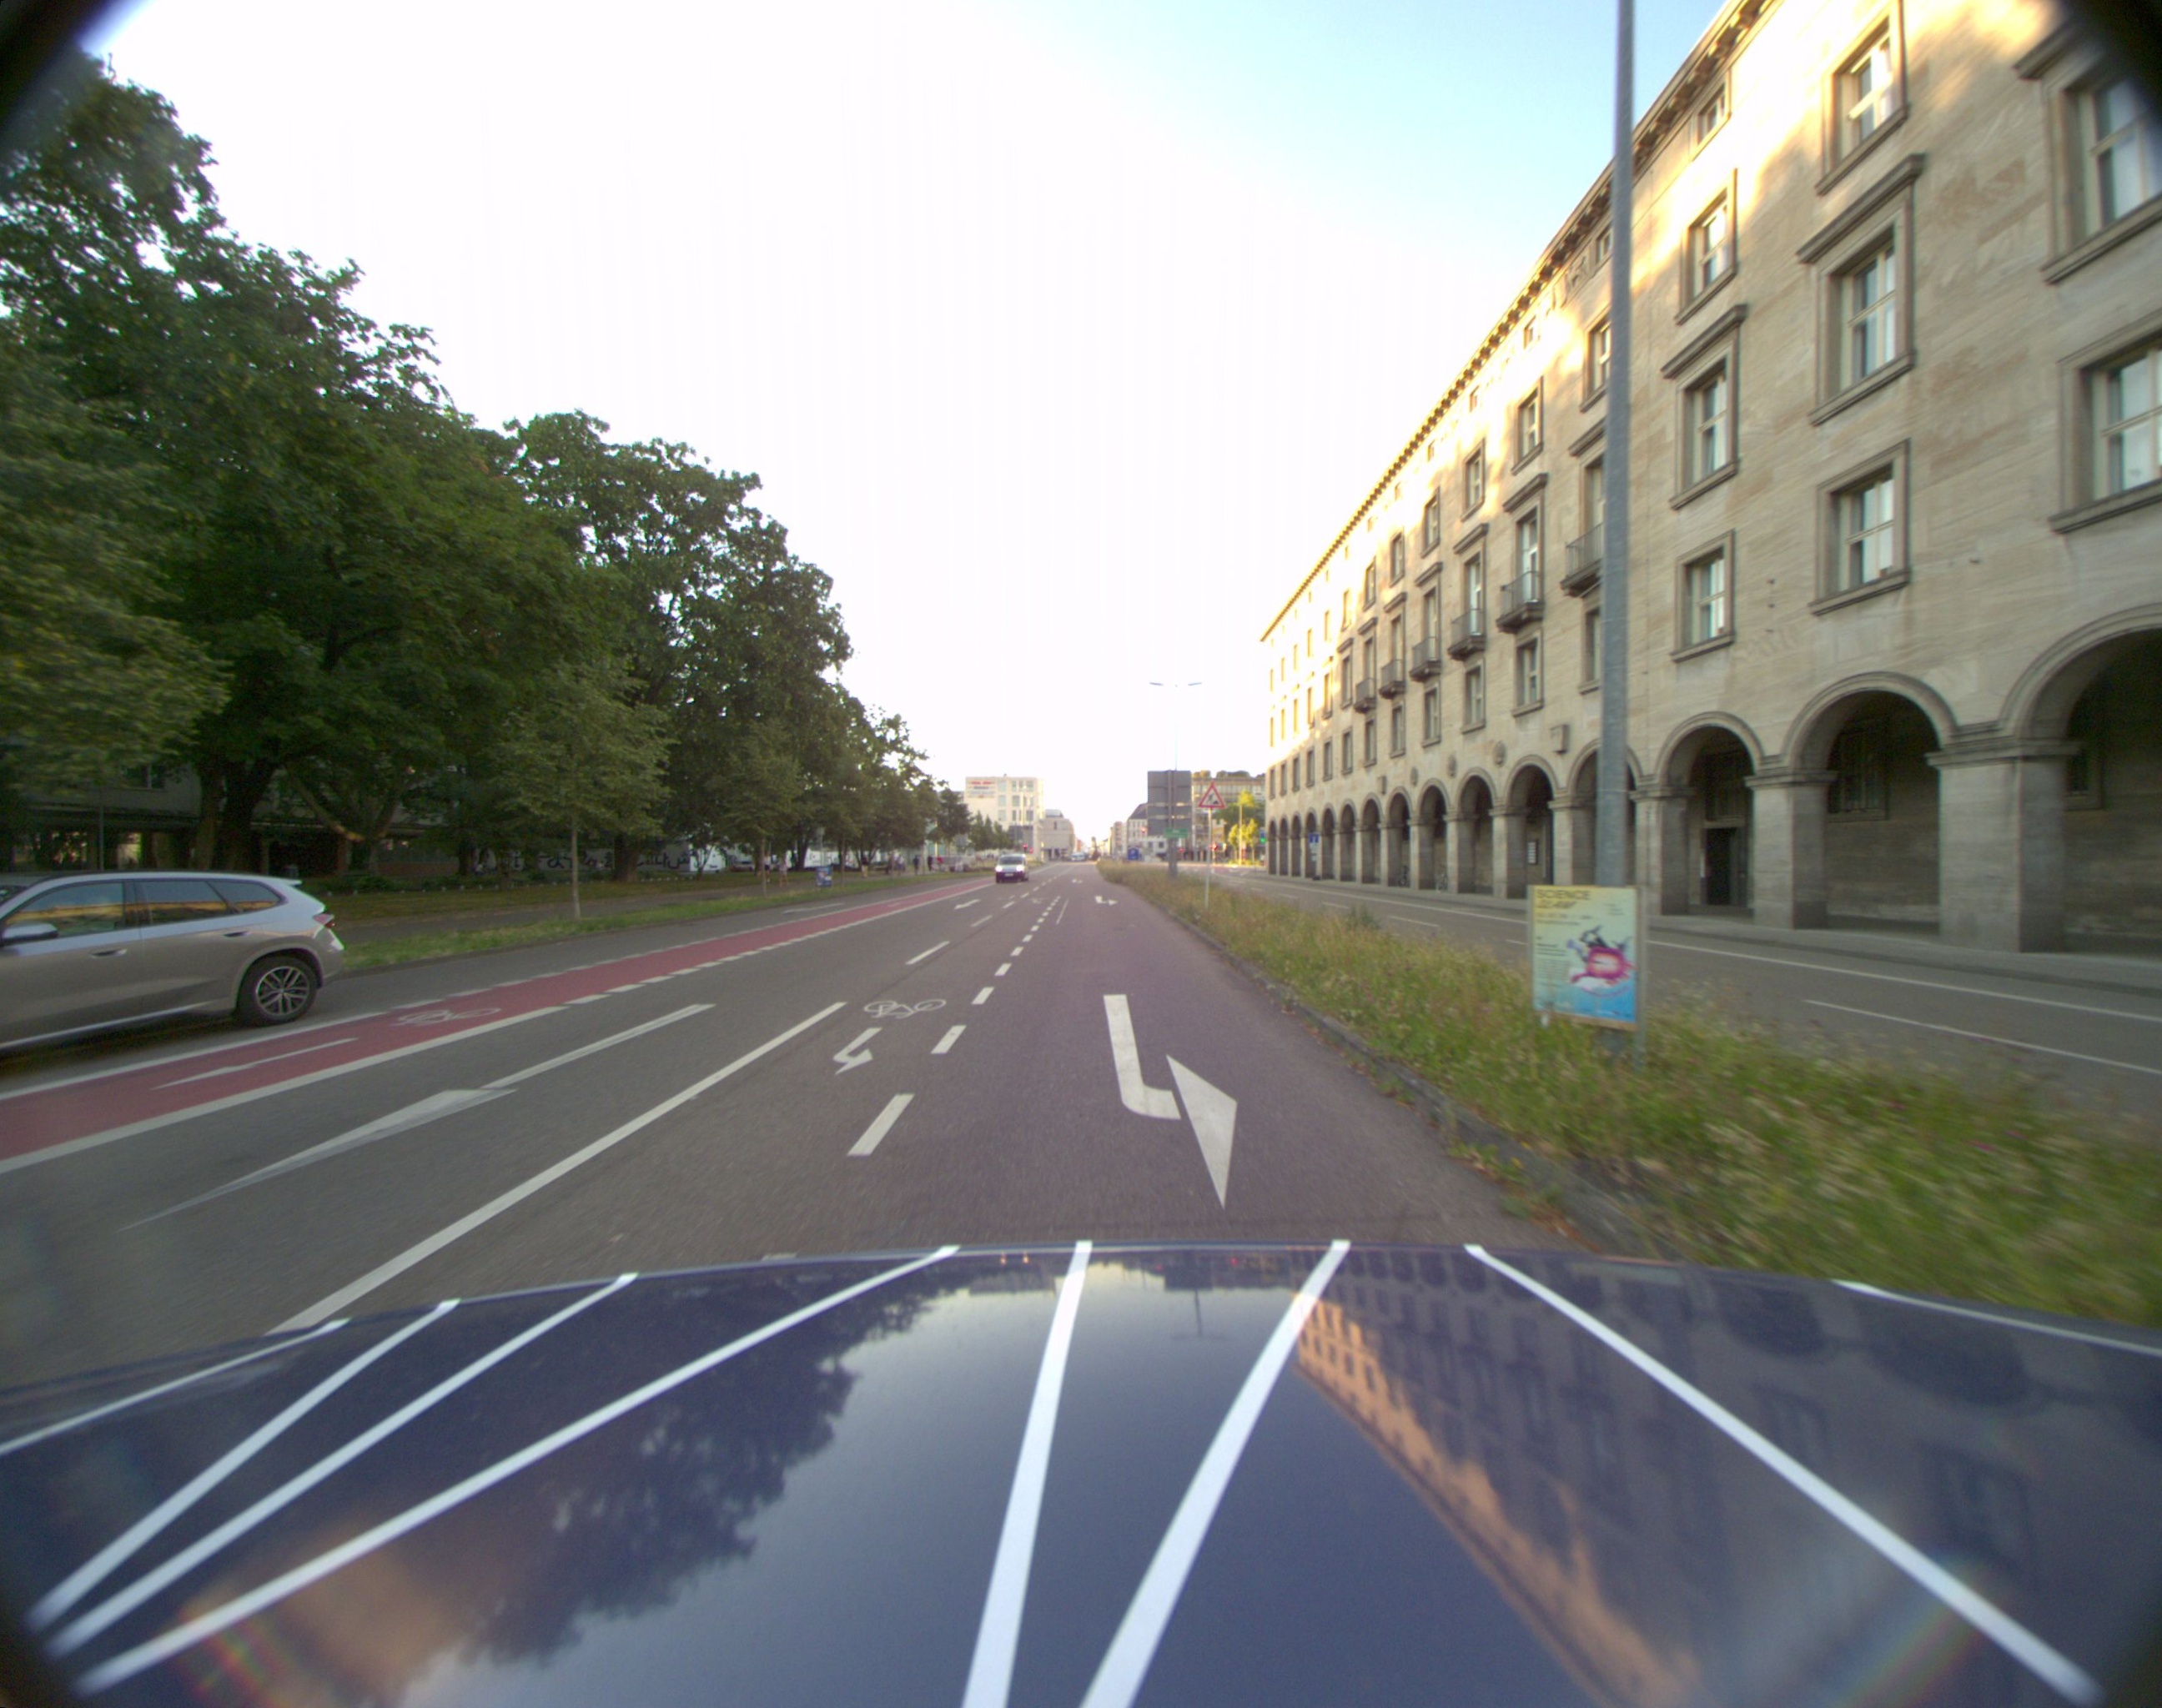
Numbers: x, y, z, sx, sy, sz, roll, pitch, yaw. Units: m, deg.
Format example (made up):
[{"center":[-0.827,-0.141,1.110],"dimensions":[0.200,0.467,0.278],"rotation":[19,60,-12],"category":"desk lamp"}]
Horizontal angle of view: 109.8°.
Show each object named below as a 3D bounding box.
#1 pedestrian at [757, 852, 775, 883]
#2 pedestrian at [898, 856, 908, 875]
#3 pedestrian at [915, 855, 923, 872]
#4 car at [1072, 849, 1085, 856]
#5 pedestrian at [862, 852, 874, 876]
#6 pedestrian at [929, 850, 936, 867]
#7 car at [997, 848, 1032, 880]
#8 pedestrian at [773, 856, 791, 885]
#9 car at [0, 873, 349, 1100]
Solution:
[{"center":[-16.531,0.696,39.916],"dimensions":[0.645,1.585,0.677],"rotation":[0,1,4],"category":"pedestrian"},{"center":[-14.412,0.931,61.614],"dimensions":[0.631,1.455,0.646],"rotation":[0,1,3],"category":"pedestrian"},{"center":[-13.475,0.769,63.065],"dimensions":[0.632,1.387,0.645],"rotation":[0,1,-12],"category":"pedestrian"},{"center":[-0.625,-0.443,219.377],"dimensions":[1.995,2.001,4.007],"rotation":[-5,-2,27],"category":"car"},{"center":[-14.995,0.720,53.468],"dimensions":[0.631,1.653,0.646],"rotation":[0,1,5],"category":"pedestrian"},{"center":[-14.657,0.437,75.087],"dimensions":[0.632,1.656,0.645],"rotation":[0,1,-12],"category":"pedestrian"},{"center":[-4.113,0.579,47.663],"dimensions":[1.804,1.900,4.464],"rotation":[0,0,0],"category":"car"},{"center":[-15.731,0.869,39.952],"dimensions":[0.677,1.487,0.646],"rotation":[0,1,2],"category":"pedestrian"},{"center":[-9.115,1.037,6.284],"dimensions":[1.885,1.654,4.345],"rotation":[0,0,0],"category":"car"}]
